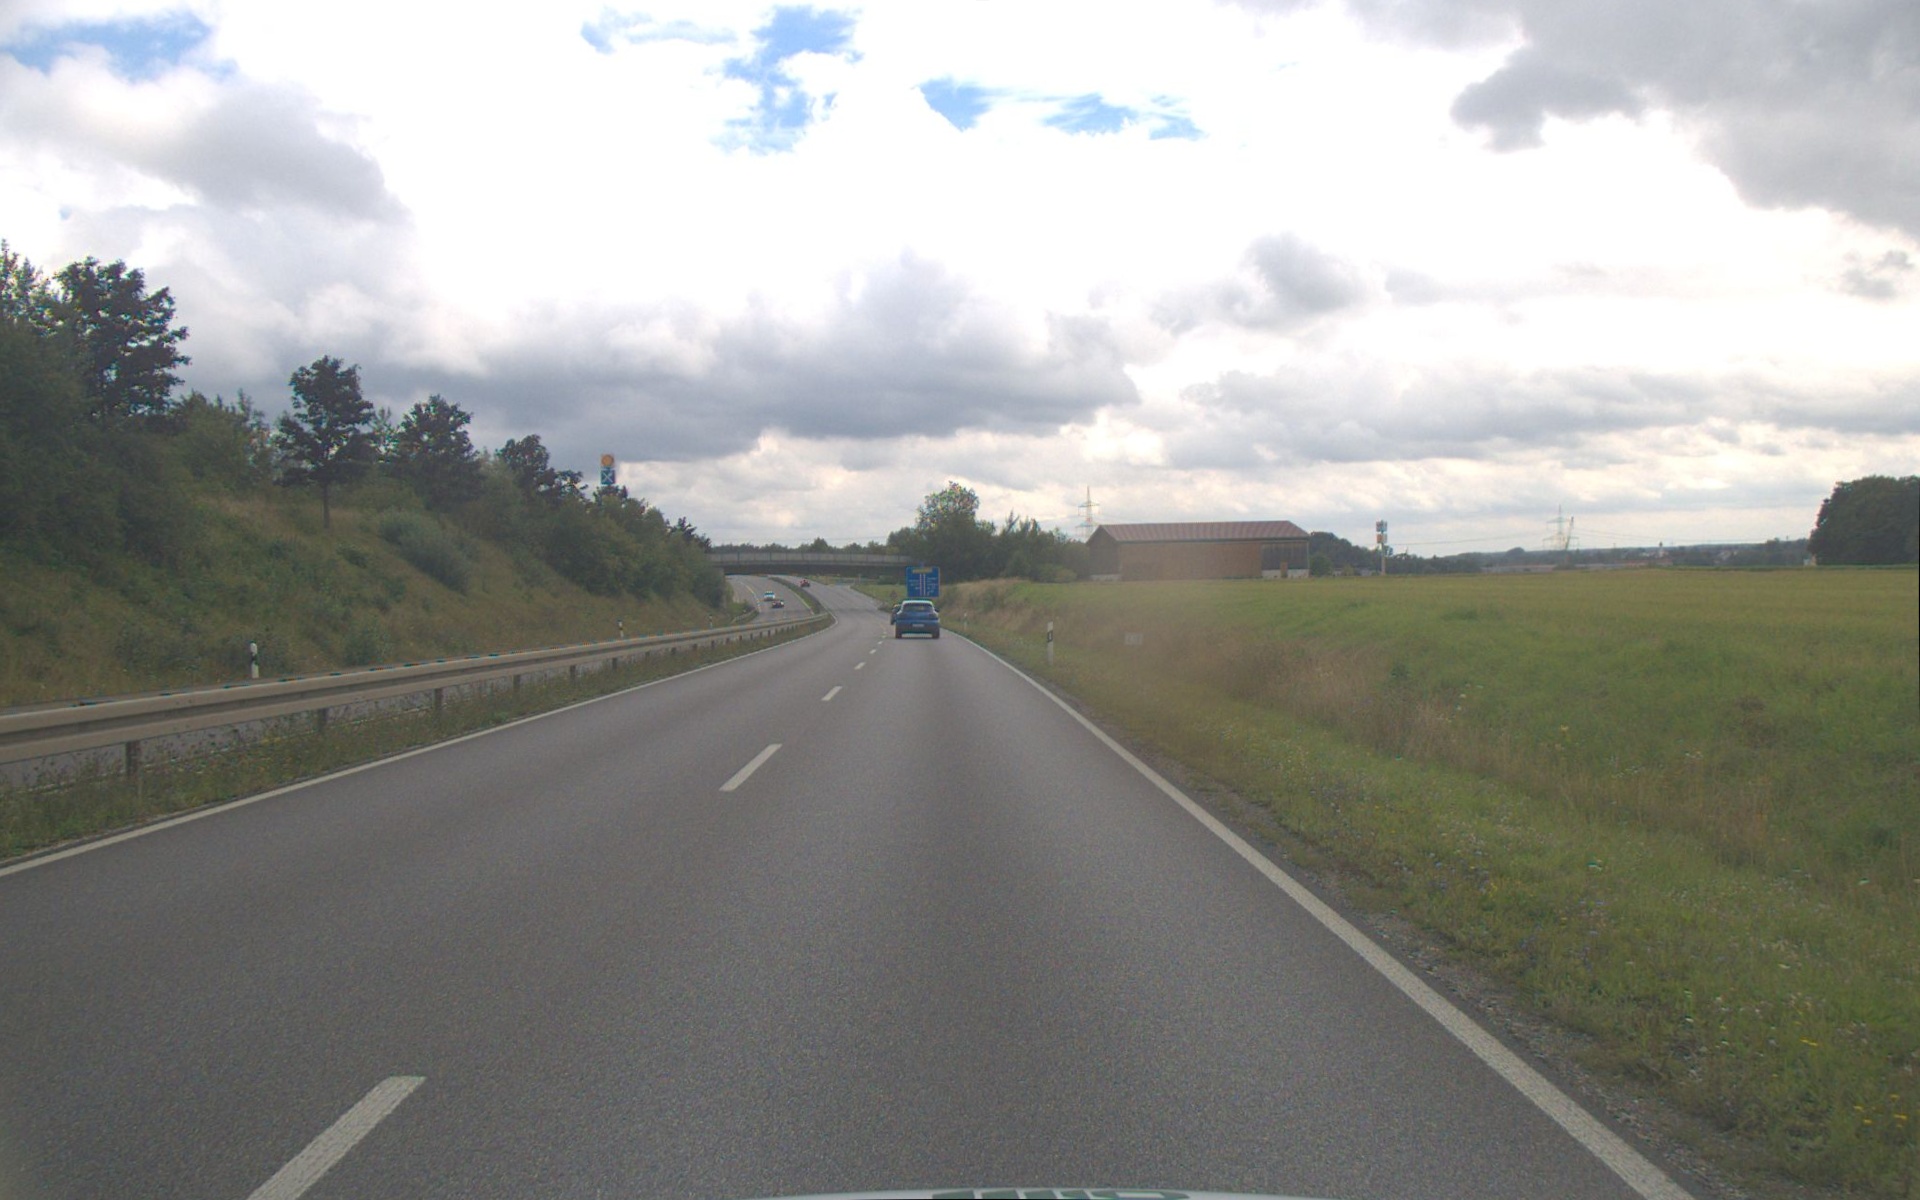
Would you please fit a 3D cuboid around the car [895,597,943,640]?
[{"bbox_3d":[-1.820,0.781,72.137,1.992,1.689,4.541,0,1,-2],"label":"car"}]

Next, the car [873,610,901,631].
[{"bbox_3d":[-5.685,1.558,128.141,1.880,1.478,4.359,-1,1,-5],"label":"car"}]
